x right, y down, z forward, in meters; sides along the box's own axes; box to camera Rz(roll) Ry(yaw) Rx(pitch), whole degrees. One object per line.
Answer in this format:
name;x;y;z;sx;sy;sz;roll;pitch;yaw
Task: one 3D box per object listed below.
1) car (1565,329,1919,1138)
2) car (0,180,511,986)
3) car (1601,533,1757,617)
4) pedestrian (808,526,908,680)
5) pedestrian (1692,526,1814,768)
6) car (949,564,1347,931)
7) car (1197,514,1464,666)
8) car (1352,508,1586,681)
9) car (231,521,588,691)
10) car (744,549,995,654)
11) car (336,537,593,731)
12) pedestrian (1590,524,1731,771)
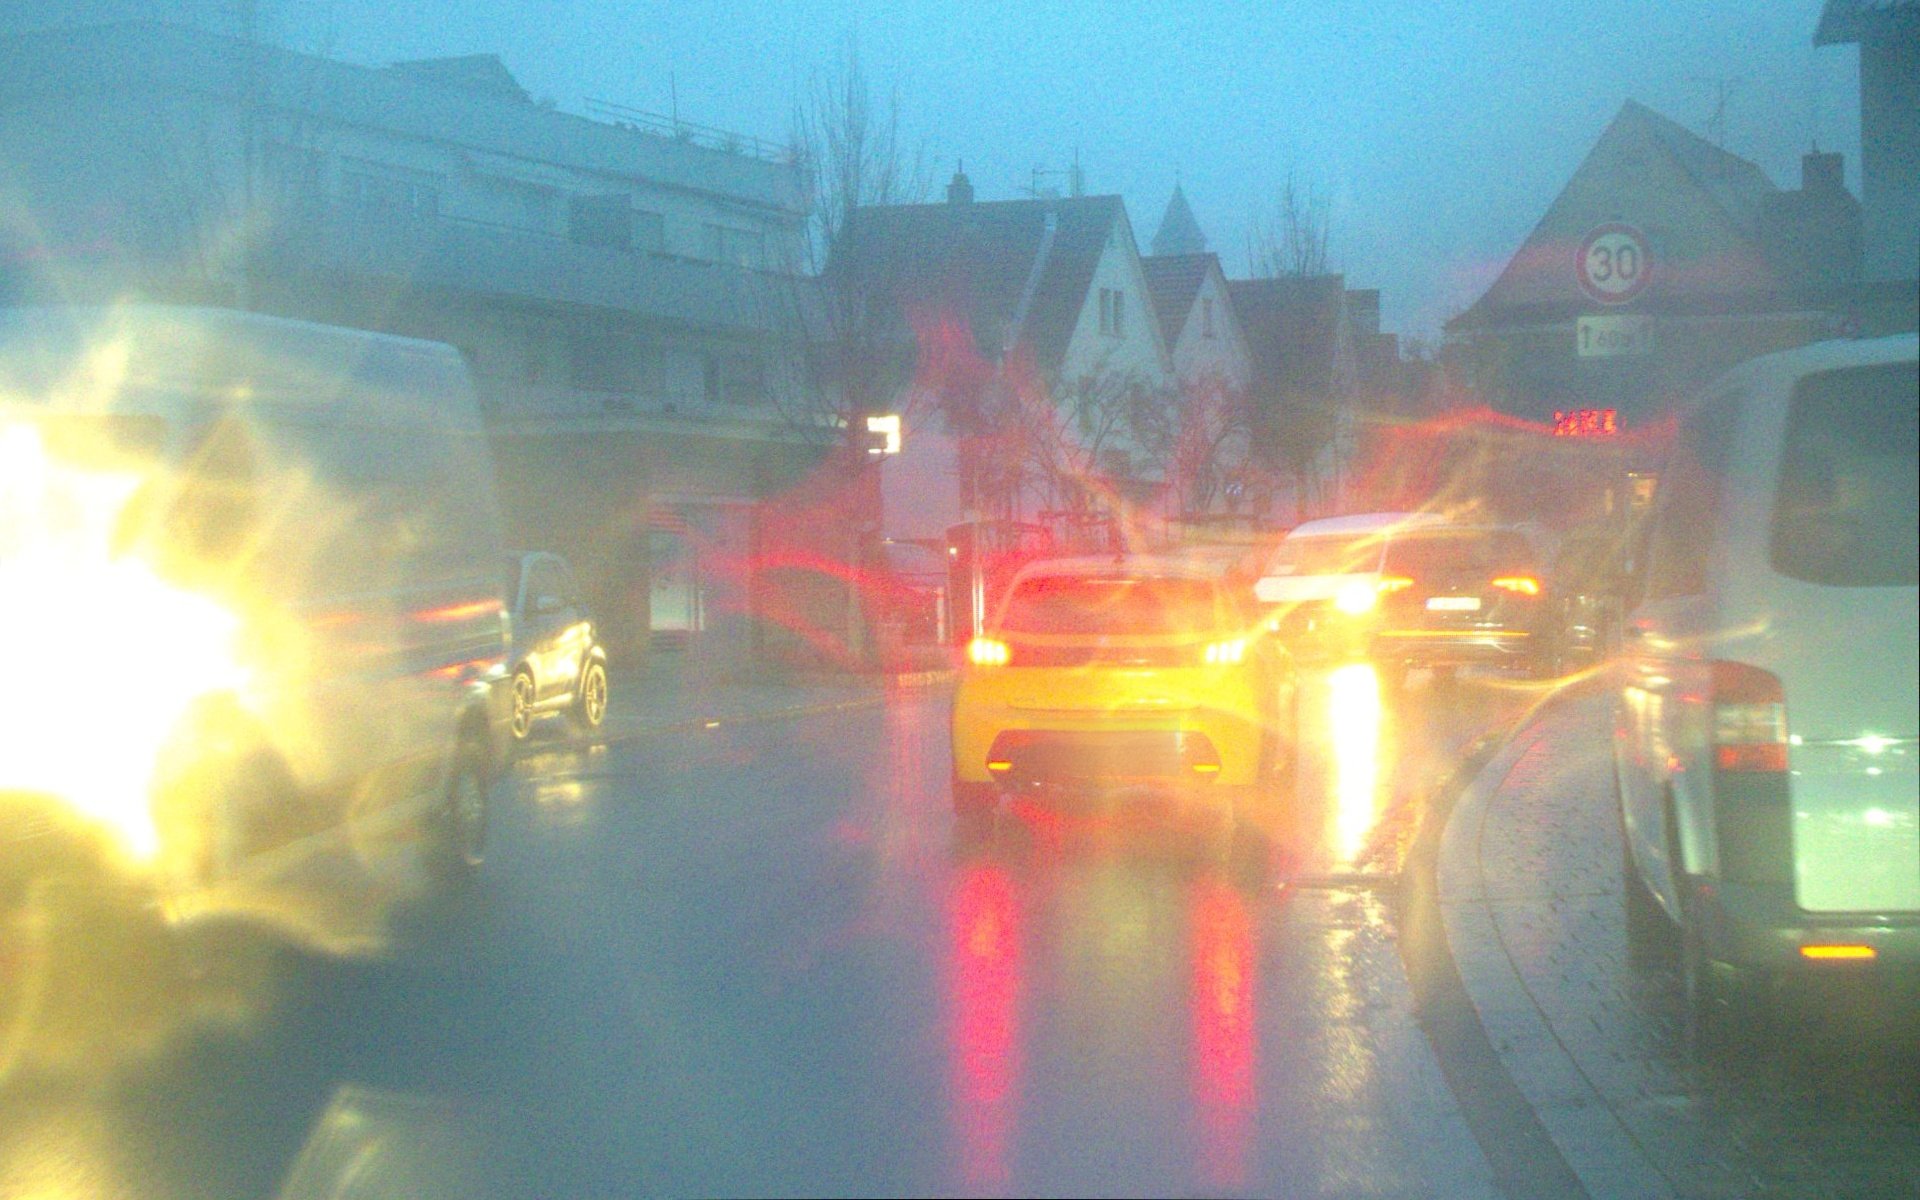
car;3.007;0.265;10.646;1.973;1.953;4.851;-1;1;7
car;-3.512;-0.095;13.734;2.195;2.482;6.142;-1;1;4
car;13.742;-0.499;65.575;1.673;1.511;3.993;2;2;31
pedestrian;-1.246;0.026;42.106;0.755;1.860;1.059;0;1;31
pedestrian;5.601;0.321;24.304;0.579;1.663;0.791;-1;1;-5
car;1.021;0.729;19.824;1.993;1.789;4.648;-1;1;2
car;4.757;-0.163;43.524;1.948;1.744;4.845;-3;0;23
car;5.252;-0.078;35.101;1.799;1.656;3.997;1;1;17
car;-6.413;0.069;40.069;3.715;1.897;1.758;-1;1;23
car;-1.417;0.036;52.159;1.734;1.472;4.088;-2;0;-36
car;-4.106;0.243;29.002;1.833;1.530;3.676;0;1;-3
pedestrian;4.929;0.323;24.225;0.713;1.694;0.804;-2;1;-7
